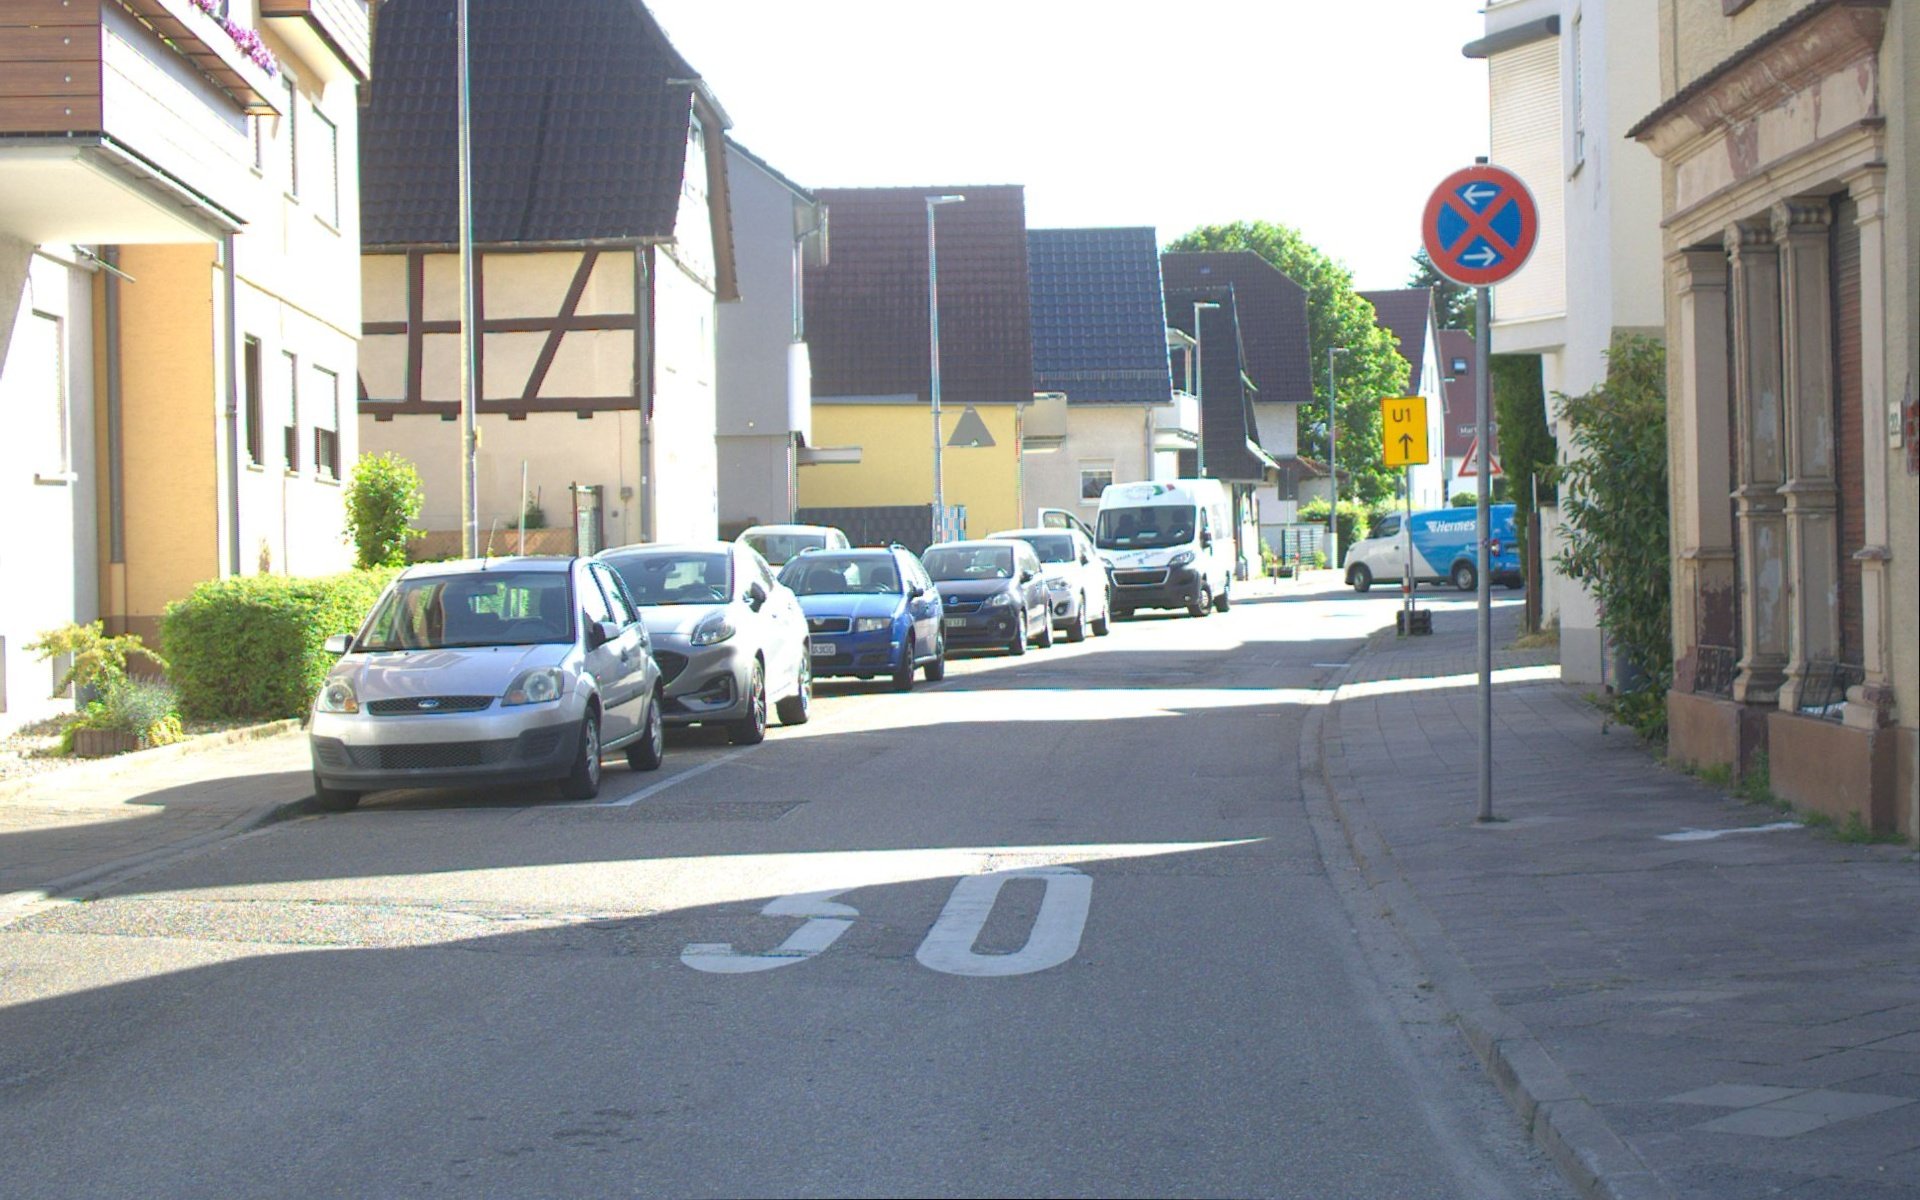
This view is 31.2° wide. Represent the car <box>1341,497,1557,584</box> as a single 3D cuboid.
[{"bbox_3d":[11.101,-1.343,78.306,1.921,1.795,4.778,-4,2,-39],"label":"car"}]

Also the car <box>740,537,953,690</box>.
[{"bbox_3d":[-1.114,0.099,35.554,1.639,1.436,4.074,-2,1,6],"label":"car"}]

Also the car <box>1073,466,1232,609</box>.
[{"bbox_3d":[3.527,-1.138,62.039,2.078,2.386,5.206,-3,1,11],"label":"car"}]

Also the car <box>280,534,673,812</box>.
[{"bbox_3d":[-2.925,0.383,21.555,1.631,1.500,3.853,-2,1,4],"label":"car"}]

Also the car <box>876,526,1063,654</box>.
[{"bbox_3d":[0.174,-0.162,45.125,1.704,1.513,4.120,-3,1,10],"label":"car"}]

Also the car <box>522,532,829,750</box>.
[{"bbox_3d":[-2.132,0.259,26.848,1.674,1.500,4.094,-2,1,5],"label":"car"}]

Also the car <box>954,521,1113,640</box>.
[{"bbox_3d":[1.101,-0.312,49.413,1.674,1.566,3.964,-3,1,9],"label":"car"}]

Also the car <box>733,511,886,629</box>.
[{"bbox_3d":[-2.127,-0.462,49.549,1.722,1.590,4.016,1,2,4],"label":"car"}]
